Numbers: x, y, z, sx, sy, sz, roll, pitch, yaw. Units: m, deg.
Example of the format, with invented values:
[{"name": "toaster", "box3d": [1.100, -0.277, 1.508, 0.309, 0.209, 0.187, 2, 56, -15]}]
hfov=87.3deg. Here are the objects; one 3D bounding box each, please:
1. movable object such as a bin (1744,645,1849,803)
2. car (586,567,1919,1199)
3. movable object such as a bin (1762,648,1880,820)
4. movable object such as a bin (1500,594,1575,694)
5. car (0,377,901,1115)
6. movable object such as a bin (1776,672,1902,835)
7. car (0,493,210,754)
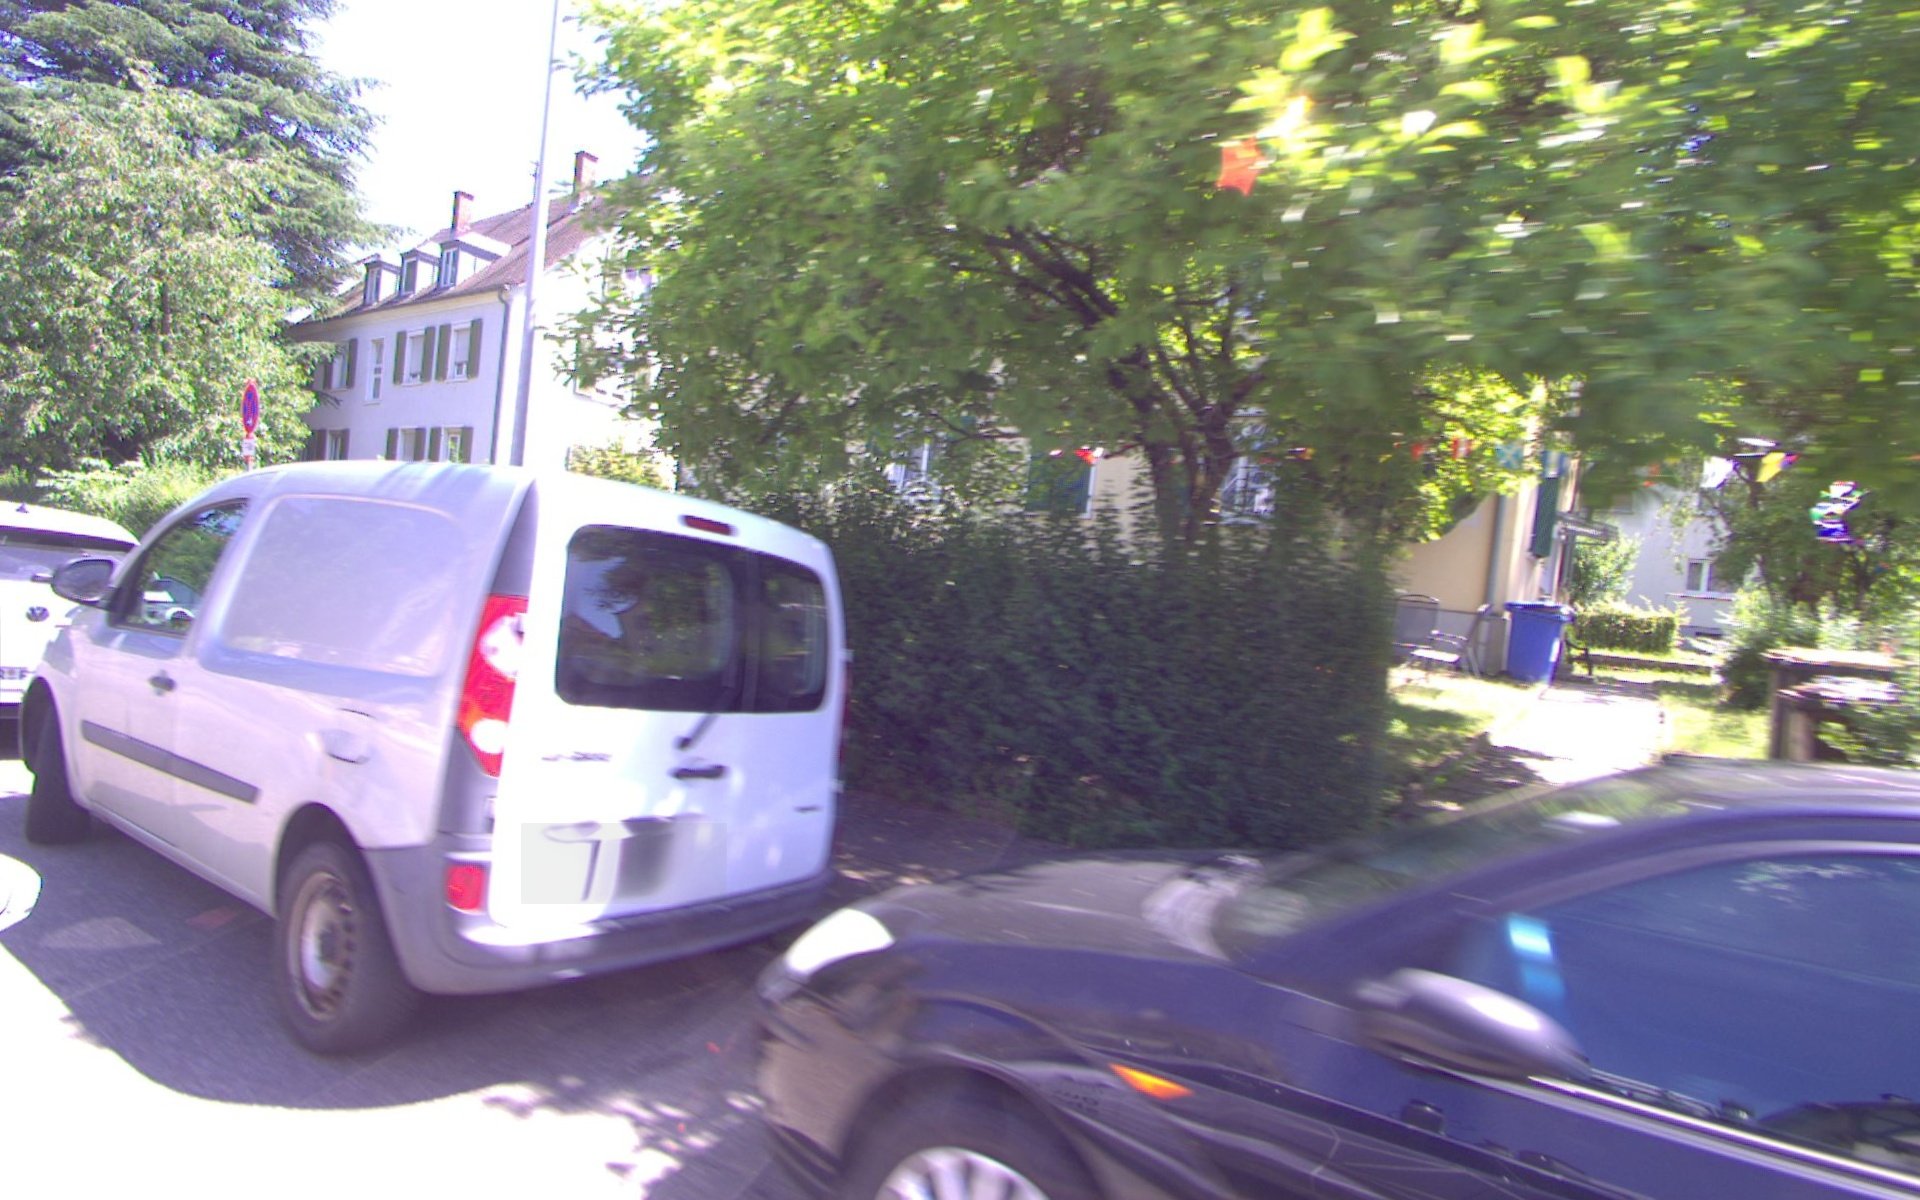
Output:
[{"name": "movable object such as a bin", "box3d": [6.083, 0.885, 7.335, 0.433, 1.056, 0.375, 7, 4, 32]}, {"name": "car", "box3d": [1.311, 0.929, 1.984, 3.950, 1.479, 1.632, 6, -2, 32]}, {"name": "movable object such as a bin", "box3d": [5.790, 0.881, 6.788, 0.439, 1.056, 0.438, 7, 4, 32]}, {"name": "movable object such as a bin", "box3d": [7.370, 0.569, 12.831, 0.671, 1.178, 0.629, 7, 0, 35]}, {"name": "car", "box3d": [-2.495, 0.265, 4.327, 4.136, 1.823, 1.664, 6, -2, 34]}, {"name": "movable object such as a bin", "box3d": [5.534, 0.947, 6.358, 0.439, 0.914, 0.438, 7, 4, 32]}, {"name": "car", "box3d": [-6.940, -0.022, 6.873, 4.065, 1.451, 1.663, 6, -3, 36]}]
